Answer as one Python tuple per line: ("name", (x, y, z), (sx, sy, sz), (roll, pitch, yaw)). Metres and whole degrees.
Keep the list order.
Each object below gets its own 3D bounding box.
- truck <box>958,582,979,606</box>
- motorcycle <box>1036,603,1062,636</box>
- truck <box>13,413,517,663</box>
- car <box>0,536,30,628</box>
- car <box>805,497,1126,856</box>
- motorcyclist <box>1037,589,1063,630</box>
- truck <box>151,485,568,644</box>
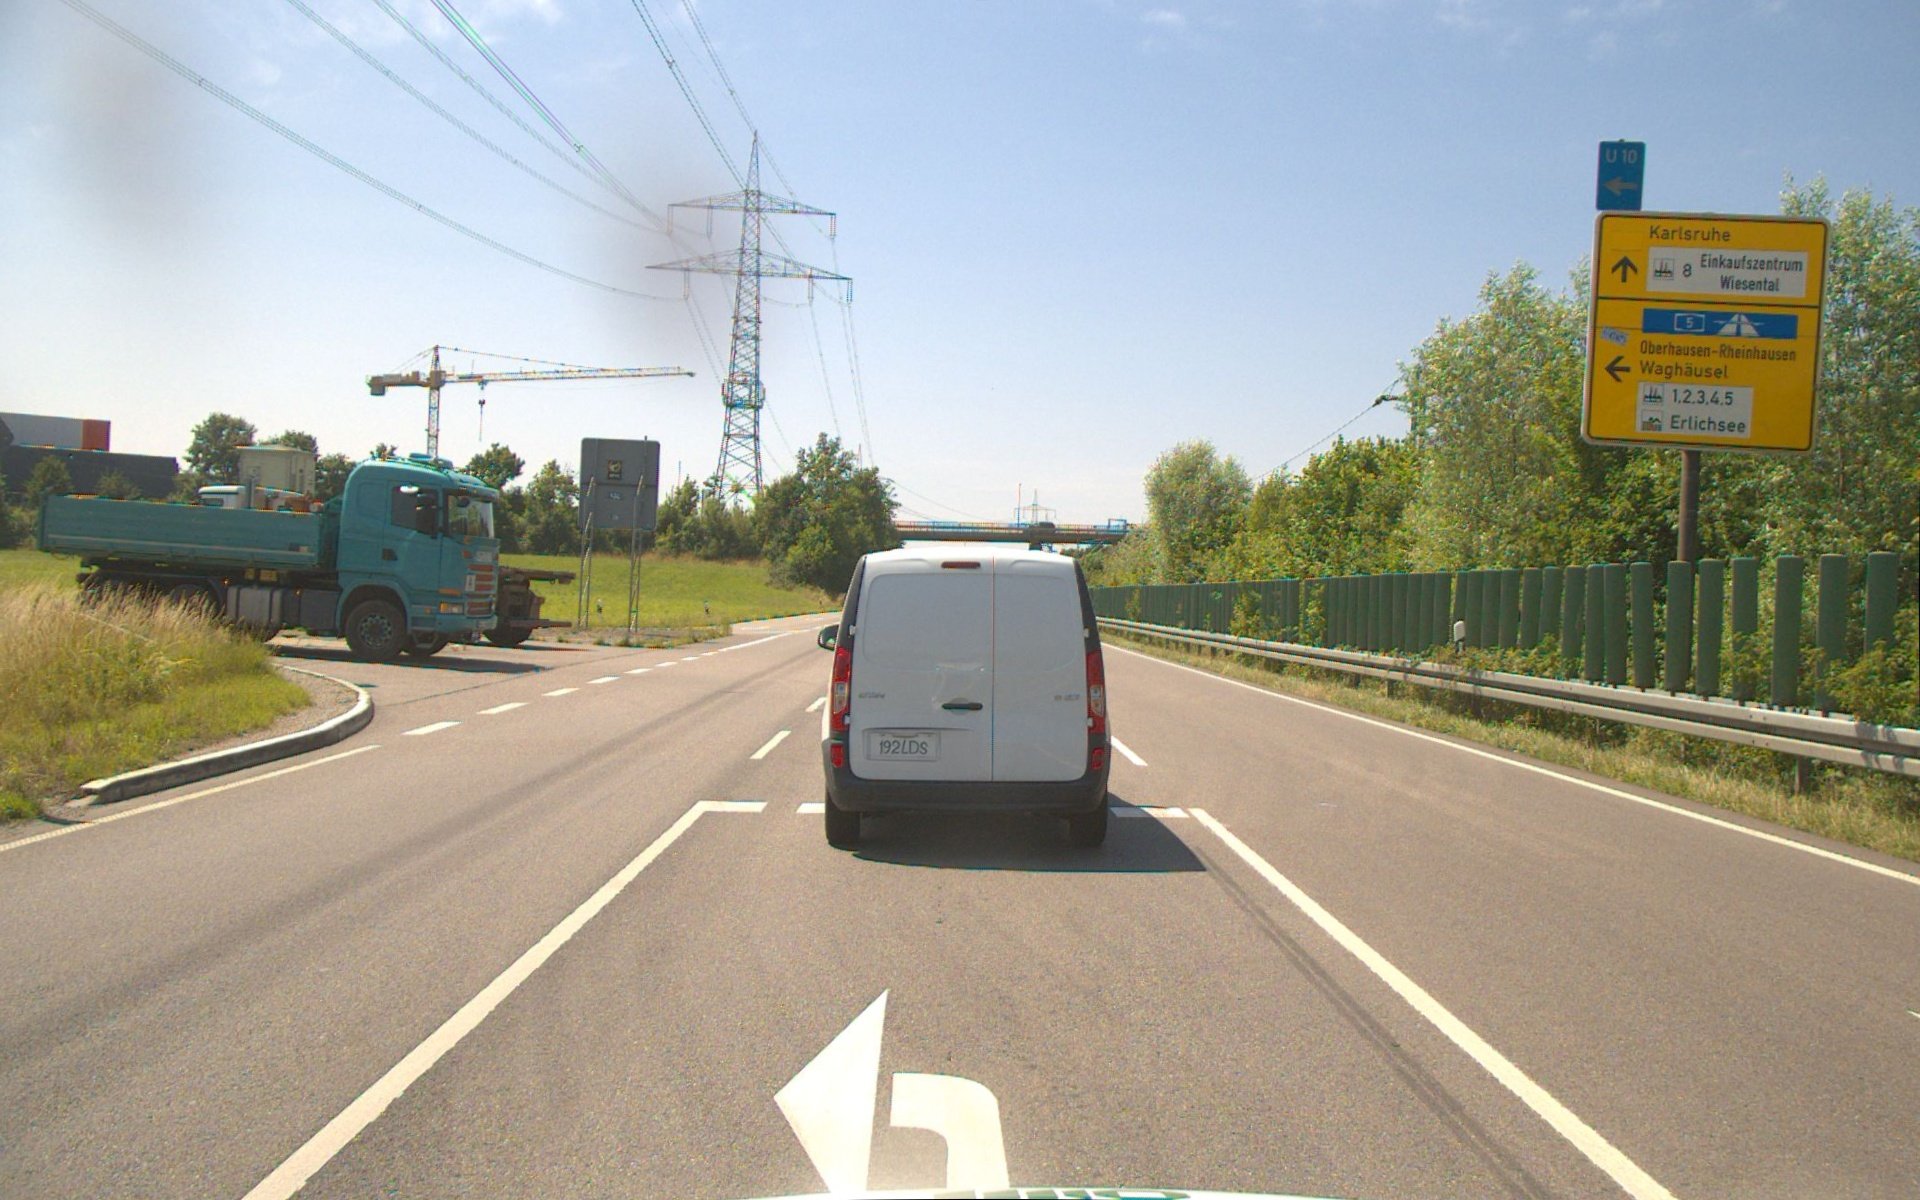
("truck", (0.969, -0.712, 197.062), (2.326, 2.736, 8.008), (2, 0, -1))
("motorcycle", (3.341, 0.722, 62.182), (0.774, 1.178, 1.901), (2, 0, -2))
("truck", (-12.244, -1.076, 29.546), (7.742, 3.799, 2.499), (4, 0, 2))
("car", (-19.419, -0.434, 29.818), (4.445, 1.640, 1.969), (3, 0, 14))
("car", (0.006, 0.425, 11.347), (1.790, 2.005, 3.999), (1, 0, -1))
("motorcyclist", (3.374, 0.339, 62.022), (0.871, 1.502, 1.002), (1, 0, -1))
("truck", (-13.960, -0.881, 38.321), (9.470, 3.345, 2.830), (2, 1, 21))
